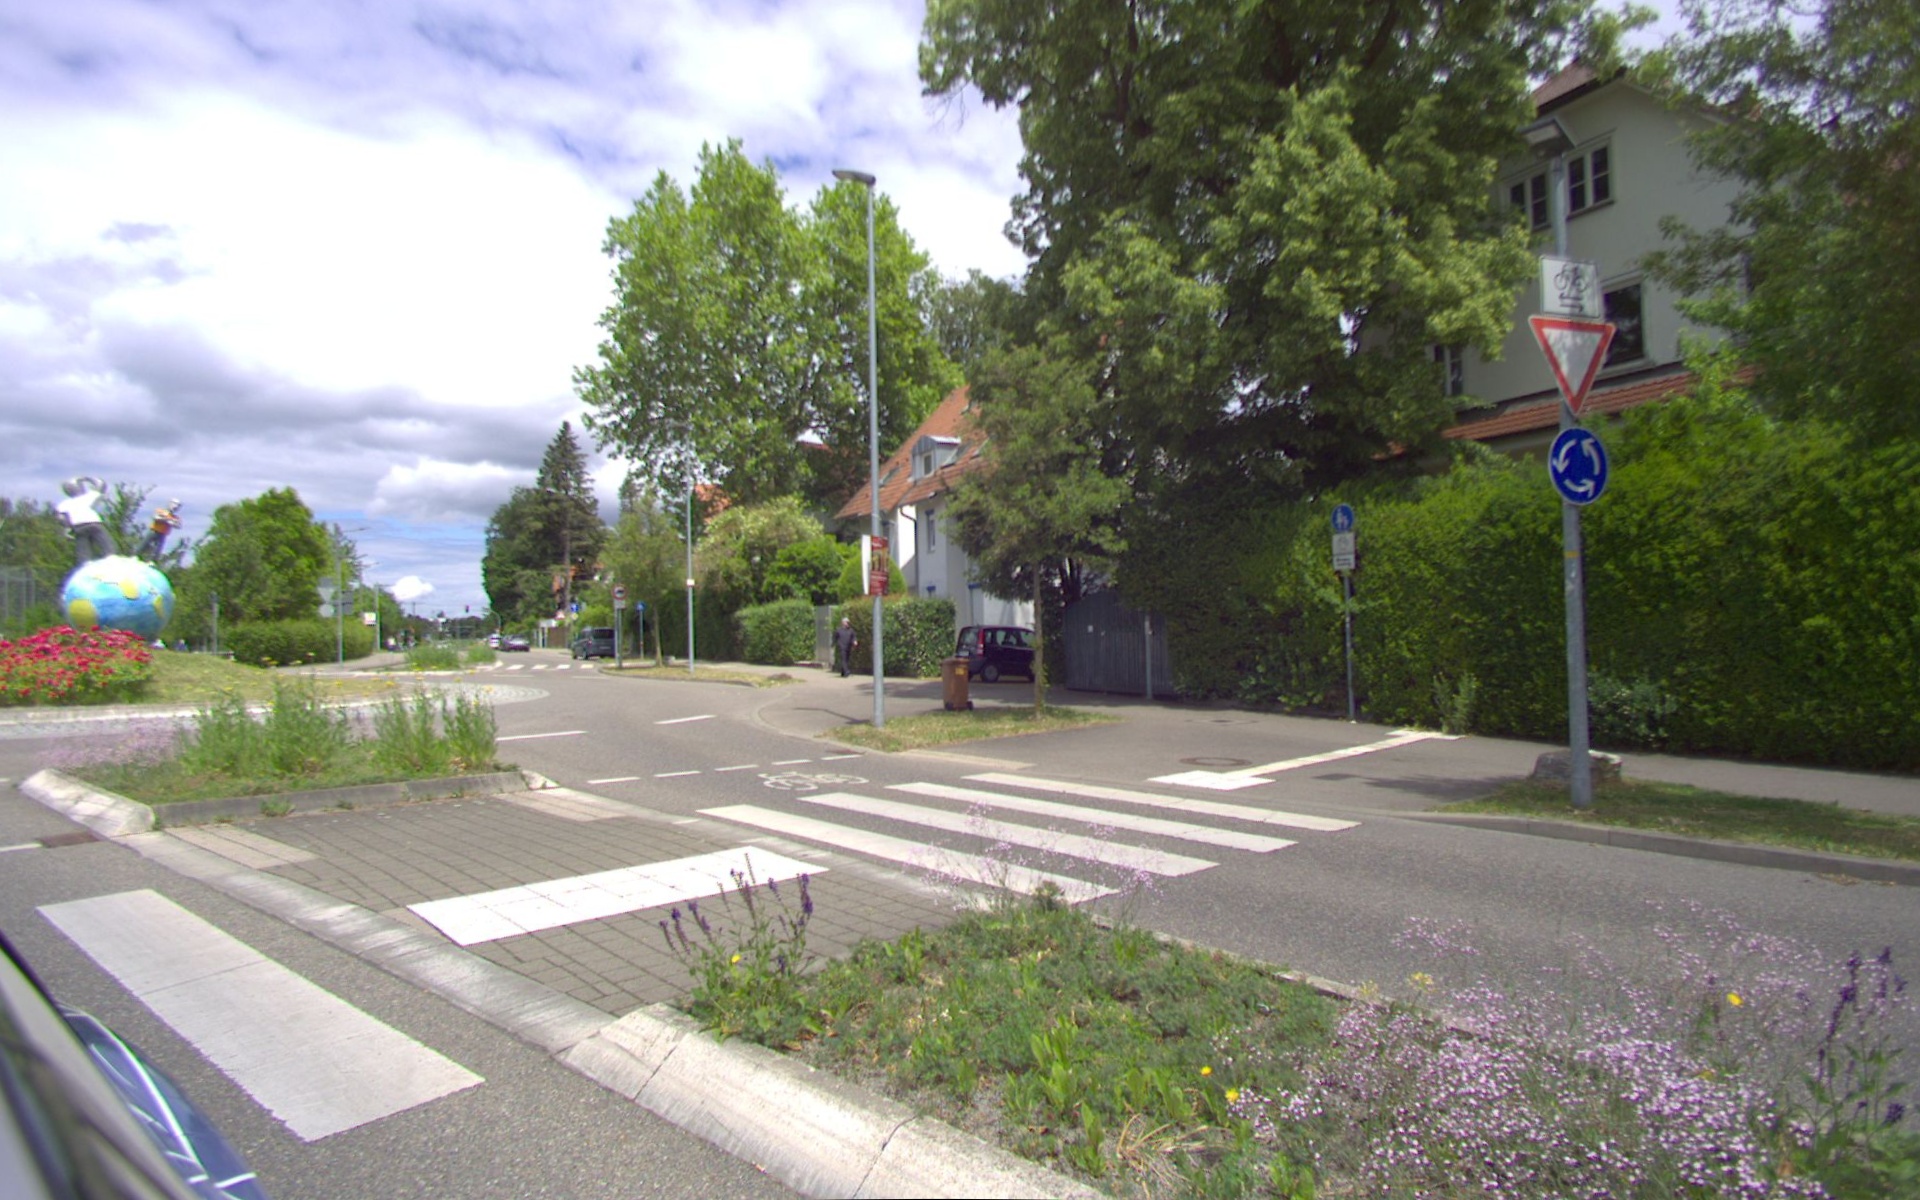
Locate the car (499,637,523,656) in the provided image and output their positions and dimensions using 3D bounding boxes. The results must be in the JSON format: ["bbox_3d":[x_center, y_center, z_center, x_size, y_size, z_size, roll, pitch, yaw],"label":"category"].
[{"bbox_3d":[-41.535,4.250,93.513,1.757,1.589,4.013,-1,-1,-28],"label":"car"}]

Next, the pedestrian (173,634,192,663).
[{"bbox_3d":[-42.040,2.603,54.724,0.753,1.569,0.603,1,-3,-42],"label":"pedestrian"}]

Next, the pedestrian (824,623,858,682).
[{"bbox_3d":[-3.489,1.525,29.642,0.733,1.704,0.697,-1,-1,-27],"label":"pedestrian"}]

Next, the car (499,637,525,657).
[{"bbox_3d":[-39.219,4.105,88.578,1.831,1.589,4.013,-1,-1,-28],"label":"car"}]

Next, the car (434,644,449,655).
[{"bbox_3d":[-81.612,7.765,159.314,1.965,1.719,4.013,1,-2,-27],"label":"car"}]

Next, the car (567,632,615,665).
[{"bbox_3d":[-19.901,2.567,54.474,1.653,1.674,4.011,1,-2,-32],"label":"car"}]

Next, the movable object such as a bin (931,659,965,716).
[{"bbox_3d":[-0.208,1.510,17.549,0.411,0.942,0.436,-2,-3,33],"label":"movable object such as a bin"}]

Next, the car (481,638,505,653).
[{"bbox_3d":[-53.625,5.249,116.247,1.966,1.719,4.011,1,-3,-33],"label":"car"}]

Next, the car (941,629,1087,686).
[{"bbox_3d":[1.467,1.541,27.124,3.517,1.408,1.671,3,-3,-27],"label":"car"}]
